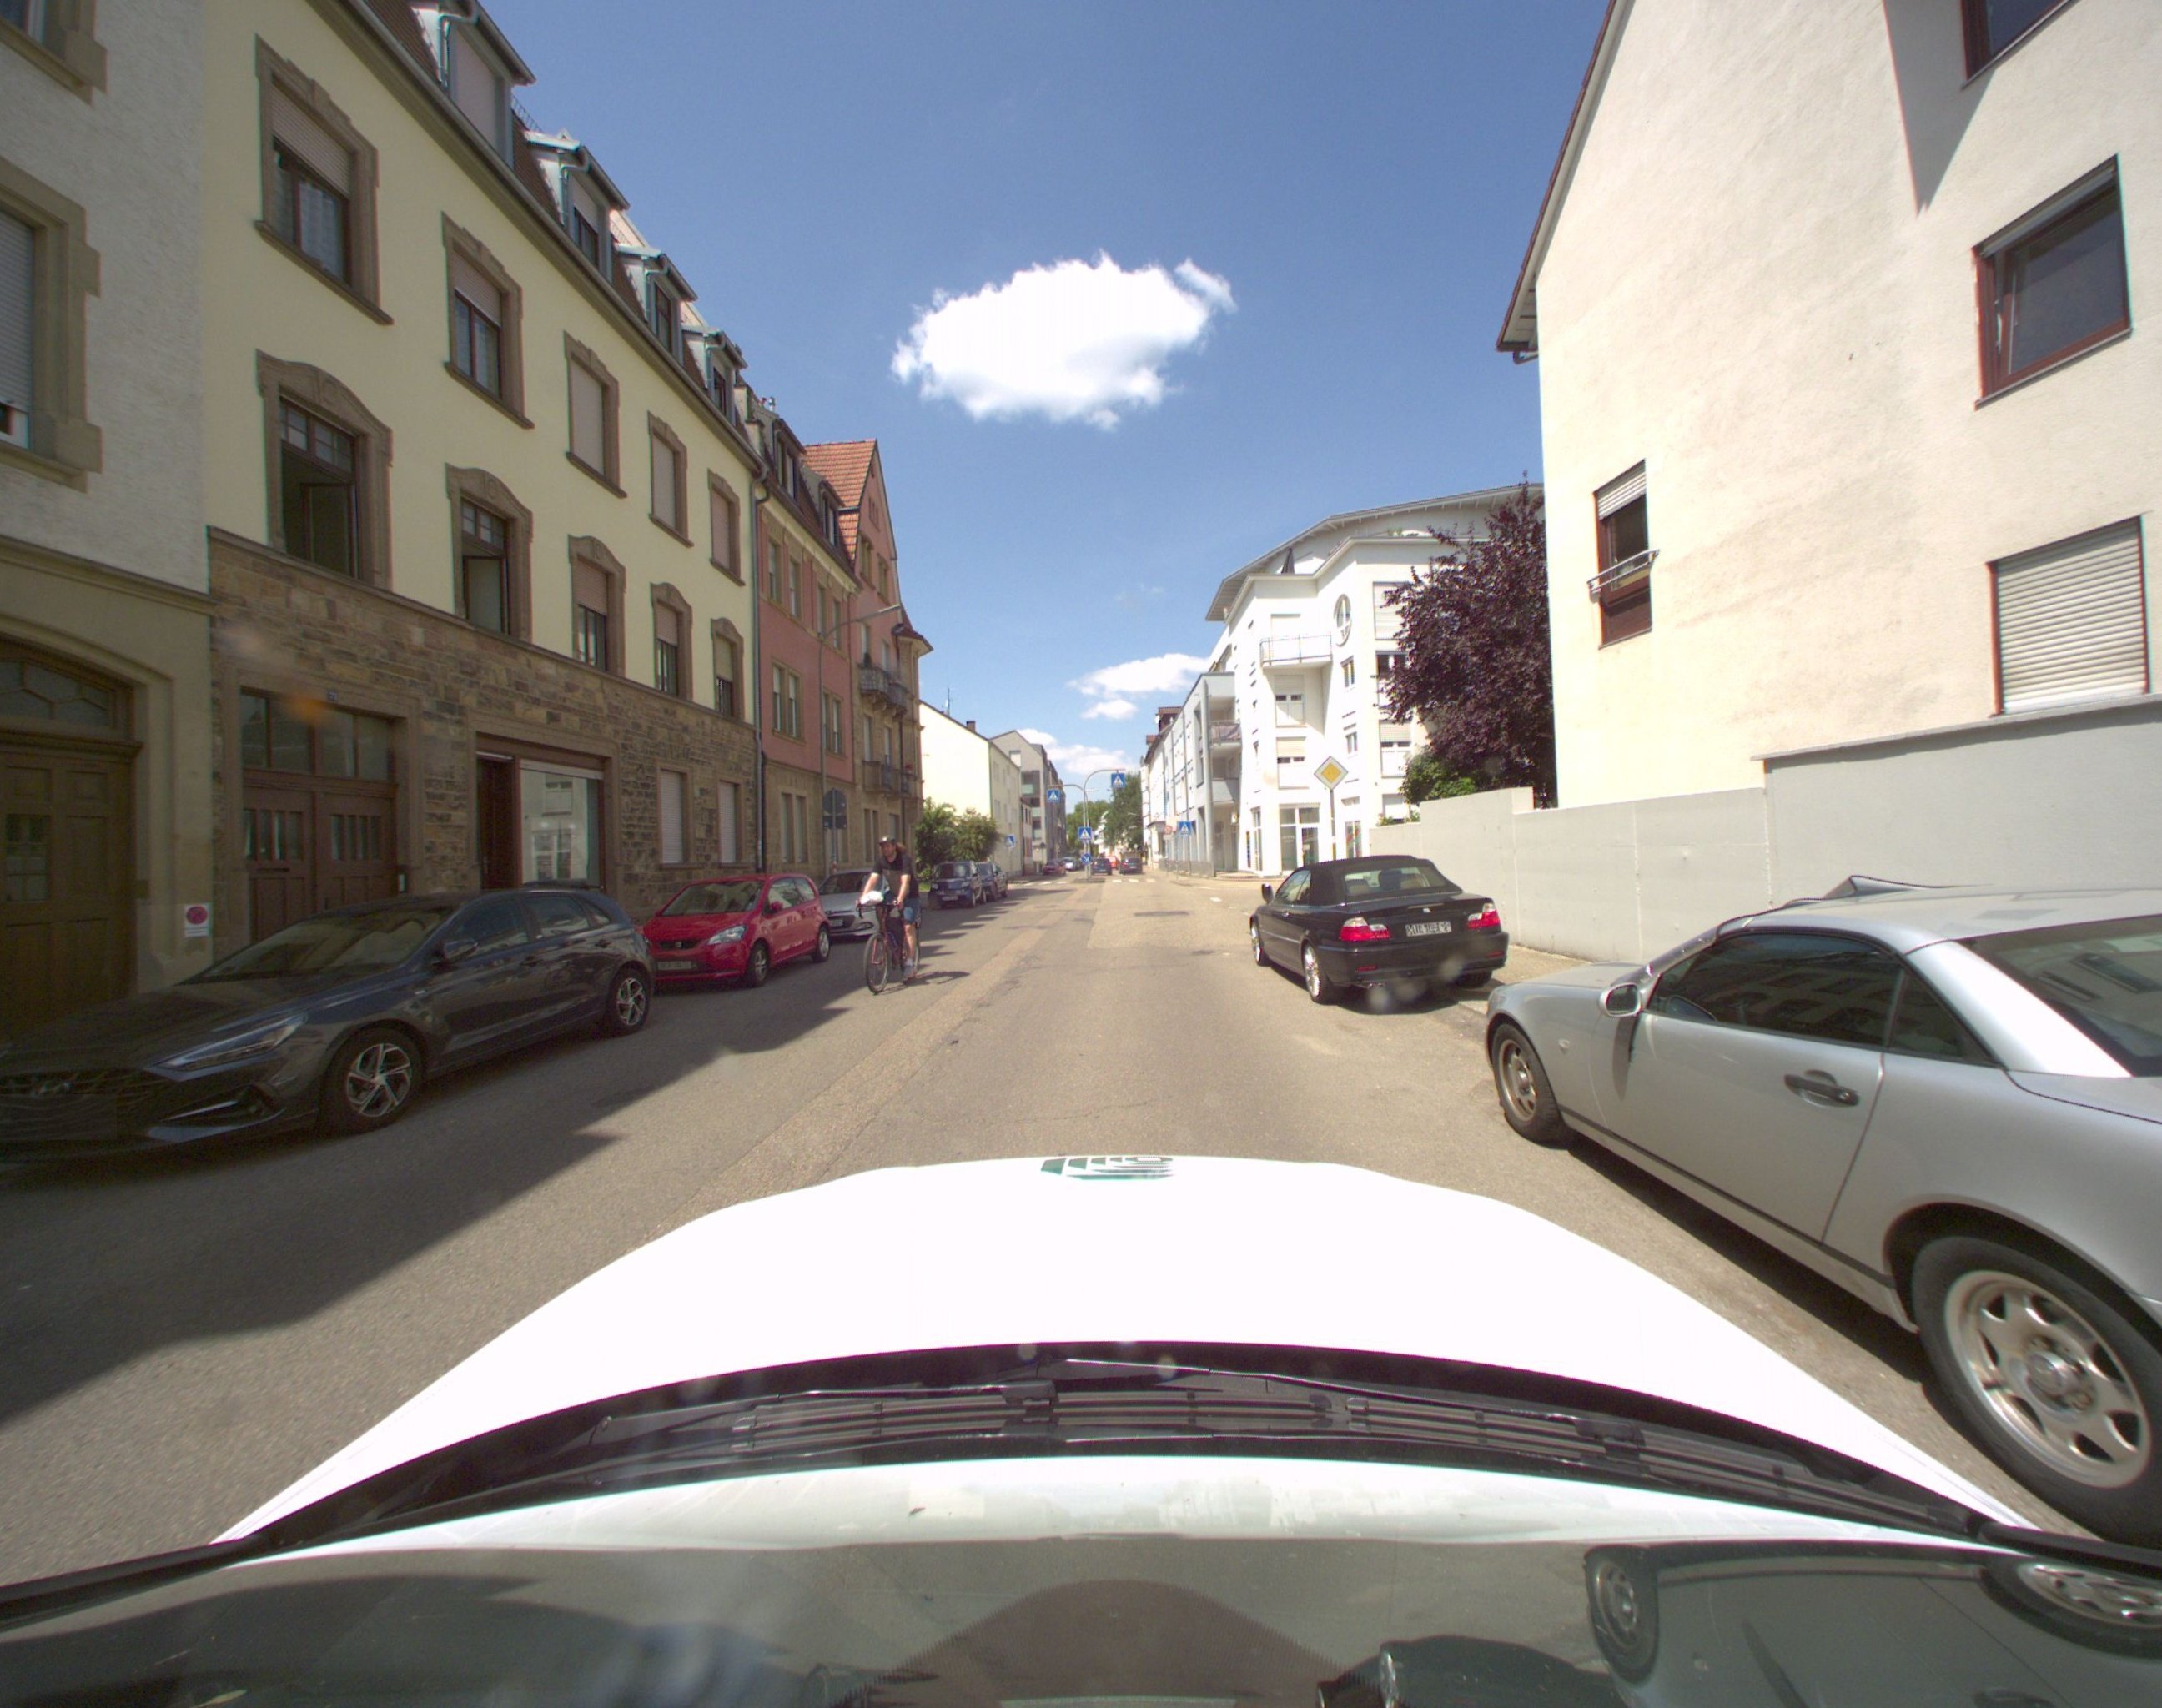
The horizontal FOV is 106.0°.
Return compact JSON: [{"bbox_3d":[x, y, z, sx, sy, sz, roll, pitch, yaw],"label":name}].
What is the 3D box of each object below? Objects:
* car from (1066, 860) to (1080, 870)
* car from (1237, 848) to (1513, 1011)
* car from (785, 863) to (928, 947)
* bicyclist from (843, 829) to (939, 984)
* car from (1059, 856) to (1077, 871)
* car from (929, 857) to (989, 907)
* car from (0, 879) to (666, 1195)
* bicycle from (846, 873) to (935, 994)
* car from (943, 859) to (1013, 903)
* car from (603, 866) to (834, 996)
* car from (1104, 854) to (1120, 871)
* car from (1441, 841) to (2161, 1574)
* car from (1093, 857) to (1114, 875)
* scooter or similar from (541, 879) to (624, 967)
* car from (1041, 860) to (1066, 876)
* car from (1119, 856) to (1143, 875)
[{"bbox_3d":[-1.175,1.559,117.791,1.716,1.456,4.007,-1,-1,2],"label":"car"},{"bbox_3d":[3.017,0.677,9.362,1.651,1.376,4.239,-2,0,1],"label":"car"},{"bbox_3d":[-4.624,0.983,17.367,1.628,1.431,4.022,-4,0,3],"label":"car"},{"bbox_3d":[-2.314,0.613,10.031,0.637,1.762,1.170,-4,-1,9],"label":"bicyclist"},{"bbox_3d":[-1.668,1.248,104.537,1.748,1.892,4.343,0,0,5],"label":"car"},{"bbox_3d":[-4.004,0.902,26.991,1.431,1.522,2.697,-3,-1,2],"label":"car"},{"bbox_3d":[-5.270,1.013,6.270,1.866,1.438,4.219,-2,0,1],"label":"car"},{"bbox_3d":[-2.287,0.911,9.995,0.227,1.275,1.888,-5,-1,11],"label":"bicycle"},{"bbox_3d":[-3.864,0.978,31.248,1.775,1.458,4.638,-3,-1,3],"label":"car"},{"bbox_3d":[-4.920,0.959,11.605,1.593,1.442,3.496,-3,0,1],"label":"car"},{"bbox_3d":[3.874,1.083,101.349,1.832,2.013,4.002,-2,0,2],"label":"car"},{"bbox_3d":[2.938,0.690,3.034,1.579,1.353,3.825,-4,0,3],"label":"car"},{"bbox_3d":[1.926,0.977,68.966,1.709,1.402,4.002,-2,0,2],"label":"car"},{"bbox_3d":[-7.617,1.019,12.501,0.373,1.220,1.320,-3,0,2],"label":"scooter or similar"},{"bbox_3d":[-2.577,1.305,76.677,1.826,1.417,4.294,-2,-1,4],"label":"car"},{"bbox_3d":[4.243,0.953,69.102,1.704,1.508,3.999,-2,-1,0],"label":"car"}]
